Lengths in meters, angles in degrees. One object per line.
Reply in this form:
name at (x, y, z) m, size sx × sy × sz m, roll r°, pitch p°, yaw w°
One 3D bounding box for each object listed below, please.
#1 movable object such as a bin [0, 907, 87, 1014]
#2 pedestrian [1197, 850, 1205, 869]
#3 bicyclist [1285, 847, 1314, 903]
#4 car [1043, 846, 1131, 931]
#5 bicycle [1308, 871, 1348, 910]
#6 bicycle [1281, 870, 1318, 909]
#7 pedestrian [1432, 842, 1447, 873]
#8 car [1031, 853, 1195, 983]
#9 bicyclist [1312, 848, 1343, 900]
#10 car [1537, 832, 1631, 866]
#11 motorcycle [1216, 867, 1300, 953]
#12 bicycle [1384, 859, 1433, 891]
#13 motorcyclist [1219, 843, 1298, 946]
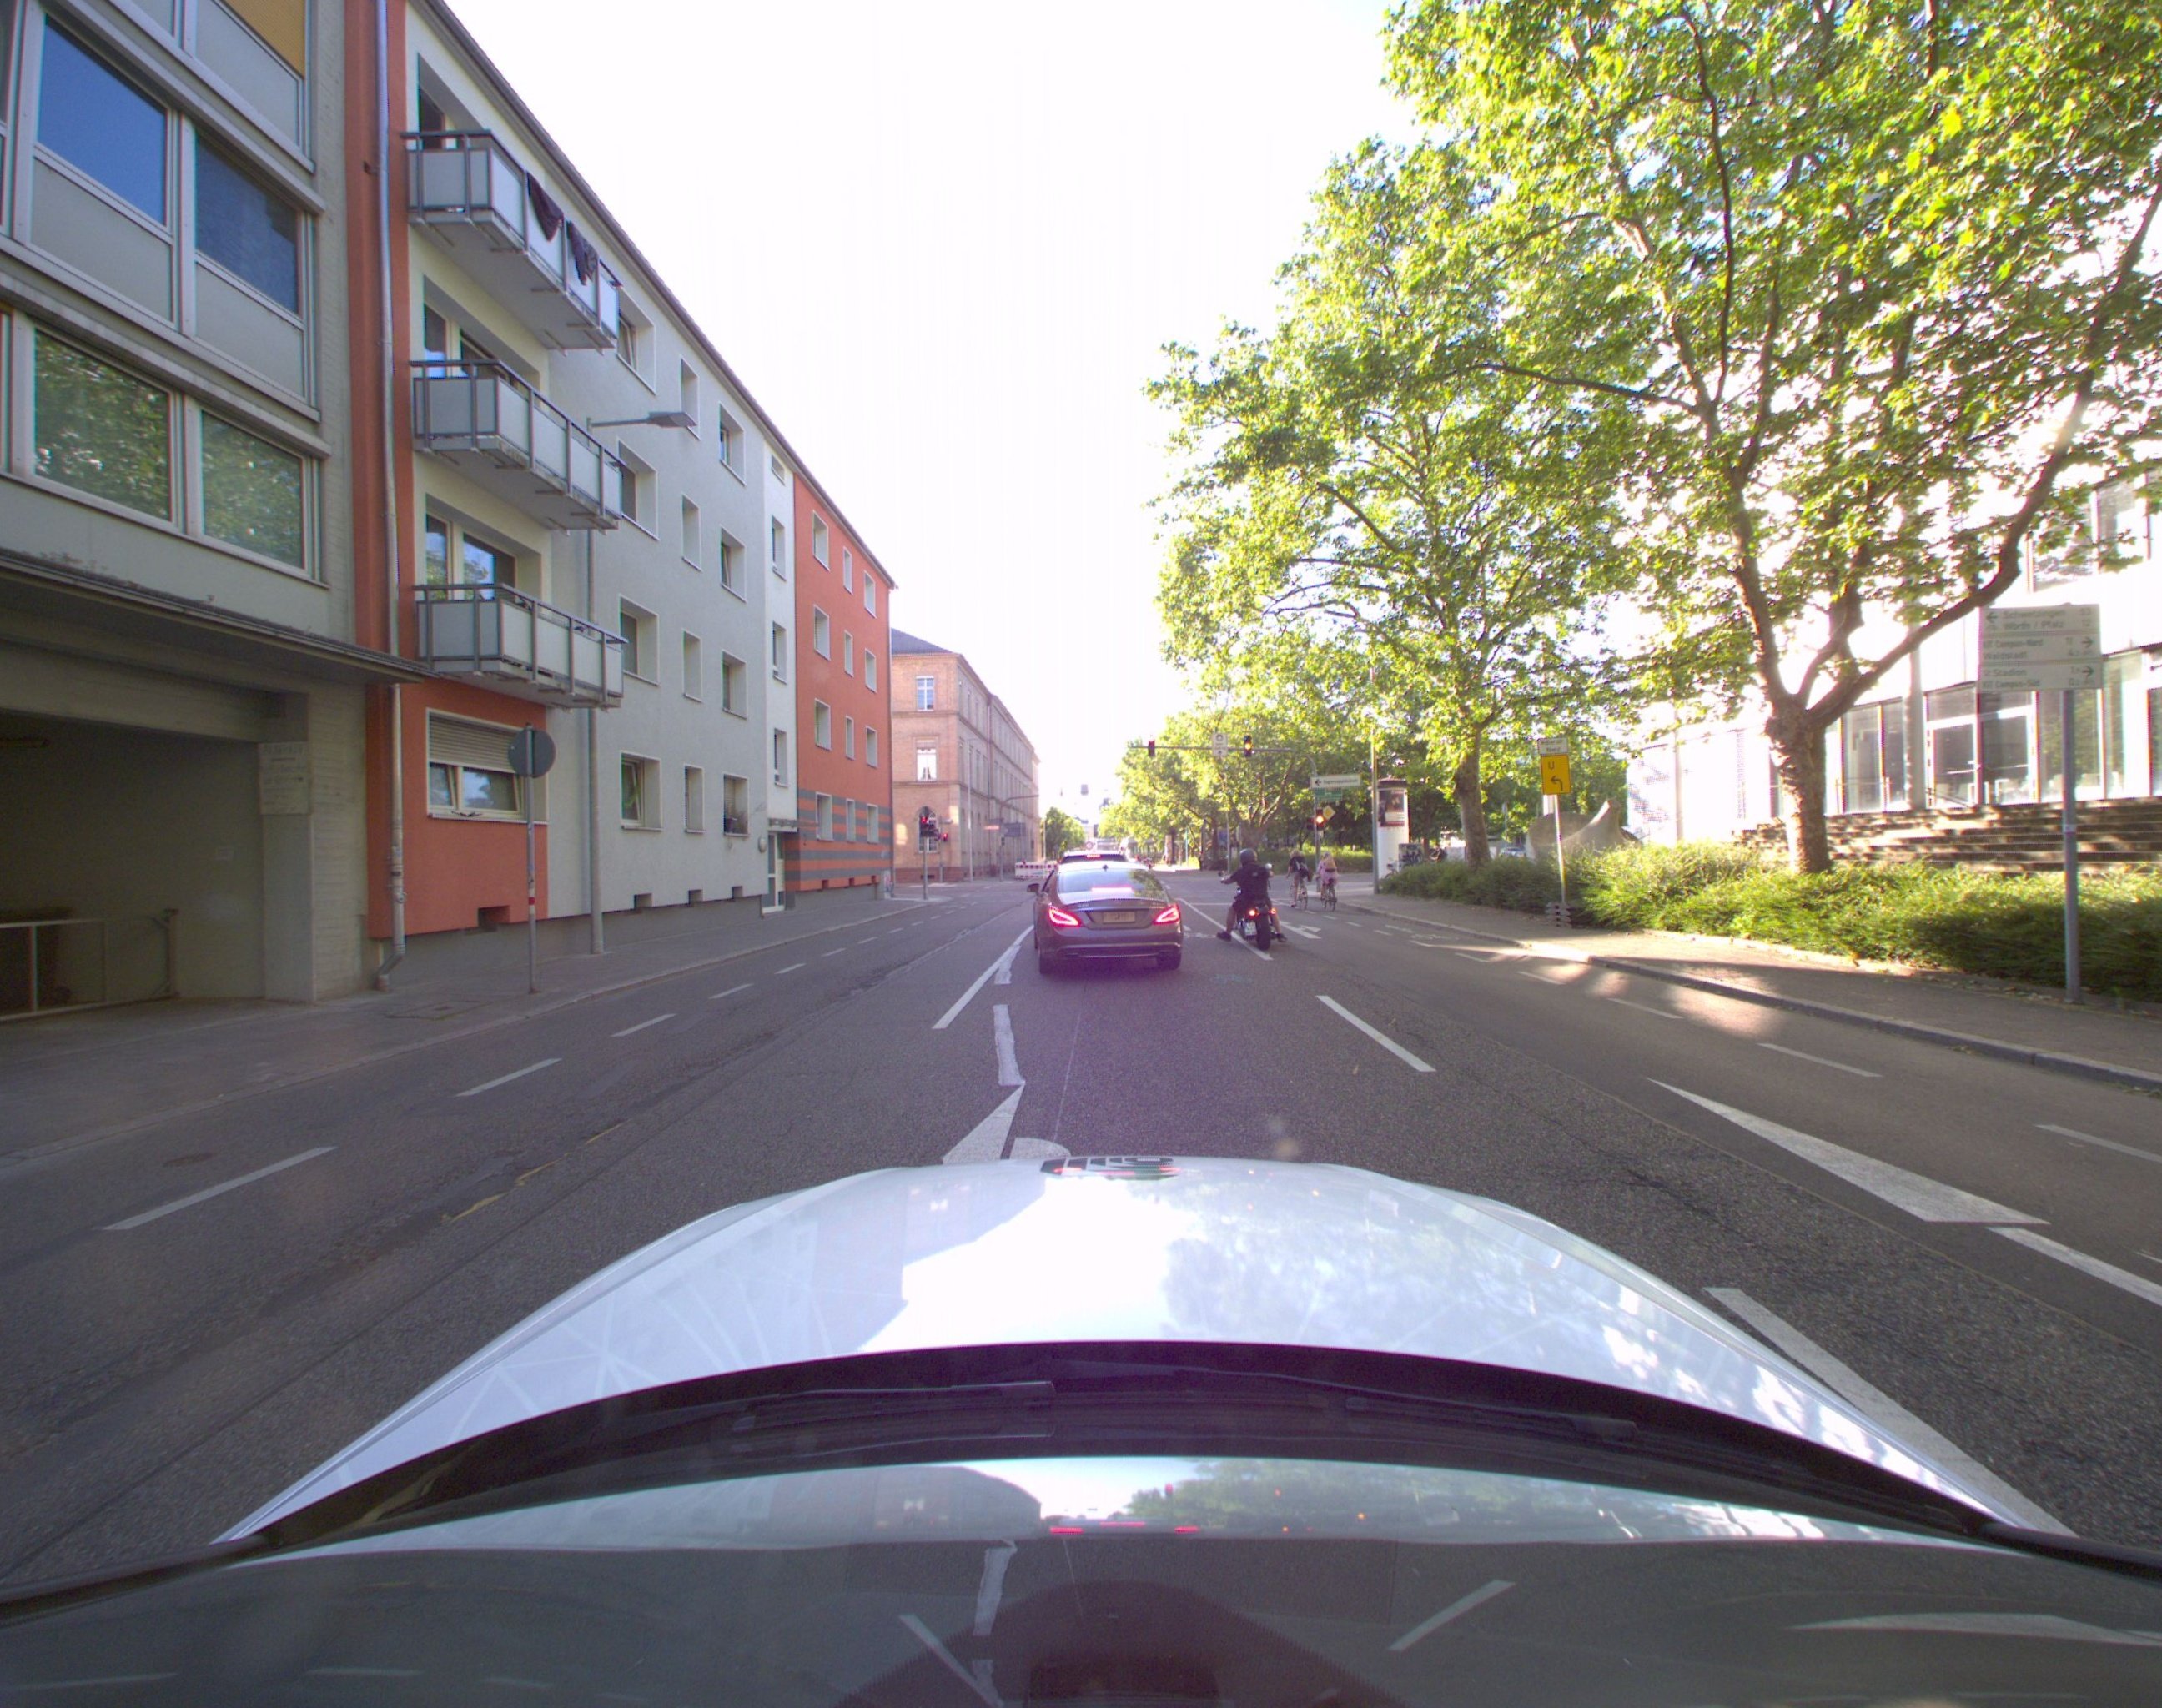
movable object such as a bin at (-11.301, 1.112, 8.653) m, size 0.584 × 1.040 × 0.712 m, roll -1°, pitch 0°, yaw 2°
pedestrian at (10.424, 0.481, 70.649) m, size 0.557 × 1.678 × 0.565 m, roll -1°, pitch 0°, yaw 1°
bicyclist at (6.112, 0.572, 22.795) m, size 0.608 × 1.516 × 0.890 m, roll 0°, pitch 0°, yaw 2°
car at (0.135, 0.679, 17.792) m, size 1.676 × 1.625 × 3.841 m, roll -1°, pitch 0°, yaw 1°
bicycle at (6.842, 0.999, 22.612) m, size 0.598 × 0.985 × 1.882 m, roll 1°, pitch 0°, yaw 2°
bicycle at (6.112, 0.975, 22.867) m, size 0.608 × 1.026 × 1.732 m, roll 0°, pitch 0°, yaw 2°
pedestrian at (21.086, 0.200, 47.932) m, size 0.617 × 1.784 × 0.631 m, roll -1°, pitch 0°, yaw 4°
car at (0.247, 0.752, 11.733) m, size 1.818 × 1.476 × 4.346 m, roll -1°, pitch 0°, yaw -5°
bicyclist at (6.858, 0.548, 22.681) m, size 0.598 × 1.402 × 0.931 m, roll 1°, pitch 0°, yaw 2°
car at (28.057, -0.258, 45.553) m, size 3.975 × 1.784 × 2.004 m, roll -1°, pitch 0°, yaw 7°
motorcycle at (2.831, 0.841, 13.328) m, size 1.002 × 1.204 × 2.669 m, roll -1°, pitch 0°, yaw 5°
bicycle at (10.985, 0.707, 27.351) m, size 1.411 × 1.037 × 0.538 m, roll -1°, pitch 0°, yaw -2°
motorcyclist at (2.892, 0.643, 13.438) m, size 1.108 × 1.613 × 1.204 m, roll -1°, pitch 0°, yaw 5°
